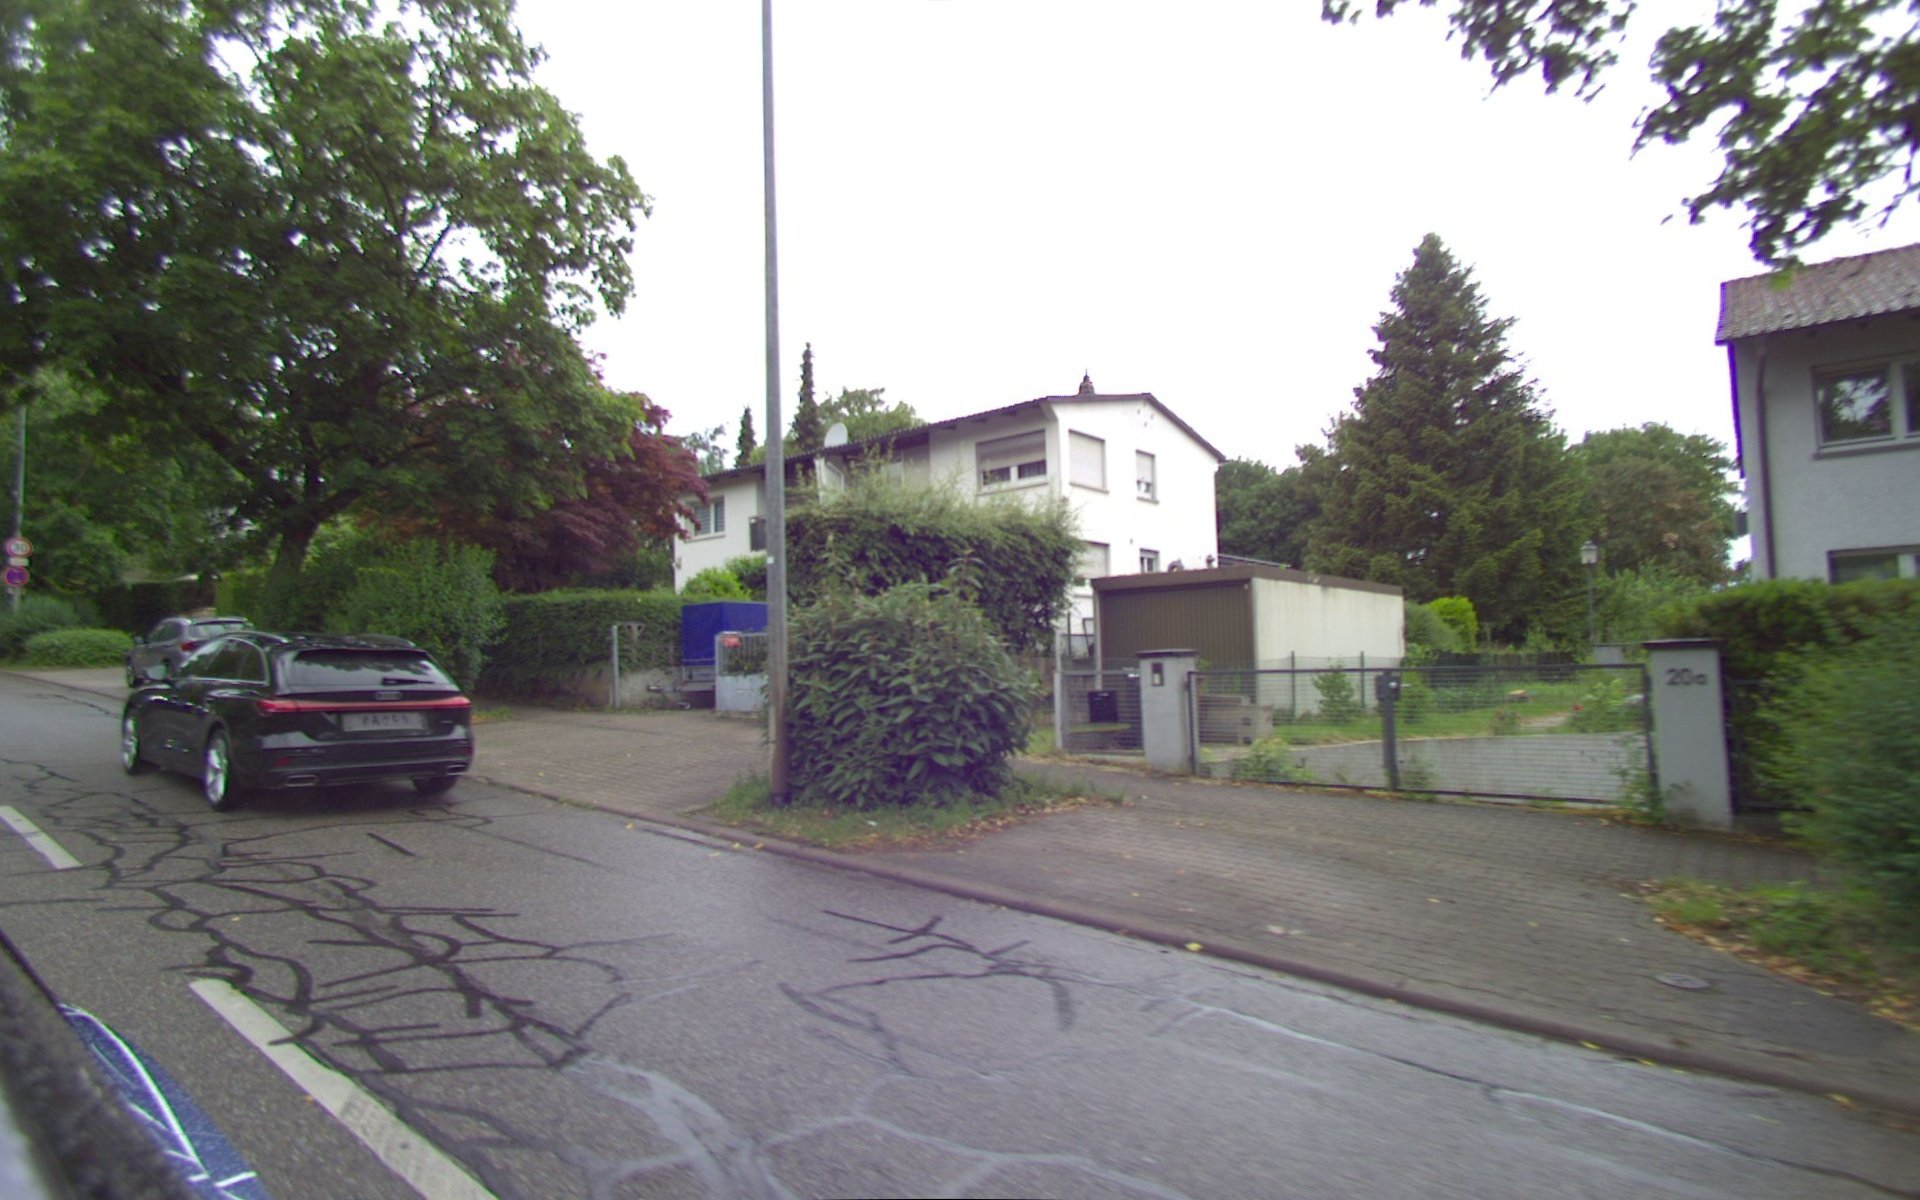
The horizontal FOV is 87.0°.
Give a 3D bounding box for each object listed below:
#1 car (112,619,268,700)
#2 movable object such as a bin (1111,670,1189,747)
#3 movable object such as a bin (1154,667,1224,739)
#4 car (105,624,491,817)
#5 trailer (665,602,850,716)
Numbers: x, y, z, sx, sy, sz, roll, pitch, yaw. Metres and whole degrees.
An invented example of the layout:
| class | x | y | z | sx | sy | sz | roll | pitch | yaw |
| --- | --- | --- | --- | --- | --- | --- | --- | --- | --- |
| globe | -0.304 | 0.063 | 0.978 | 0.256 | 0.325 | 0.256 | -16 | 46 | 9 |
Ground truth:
| class | x | y | z | sx | sy | sz | roll | pitch | yaw |
| --- | --- | --- | --- | --- | --- | --- | --- | --- | --- |
| car | -17.012 | 1.239 | 22.282 | 4.277 | 1.554 | 1.648 | -1 | 1 | 37 |
| movable object such as a bin | 2.229 | 1.251 | 11.868 | 0.633 | 0.831 | 0.701 | -2 | -2 | 39 |
| movable object such as a bin | 2.858 | 1.271 | 12.643 | 0.633 | 0.831 | 0.626 | -2 | -2 | 39 |
| car | -6.212 | 0.990 | 9.306 | 4.321 | 1.373 | 1.736 | -3 | -5 | 40 |
| trailer | -3.564 | 1.128 | 18.230 | 1.421 | 1.813 | 3.091 | -3 | -8 | 34 |
